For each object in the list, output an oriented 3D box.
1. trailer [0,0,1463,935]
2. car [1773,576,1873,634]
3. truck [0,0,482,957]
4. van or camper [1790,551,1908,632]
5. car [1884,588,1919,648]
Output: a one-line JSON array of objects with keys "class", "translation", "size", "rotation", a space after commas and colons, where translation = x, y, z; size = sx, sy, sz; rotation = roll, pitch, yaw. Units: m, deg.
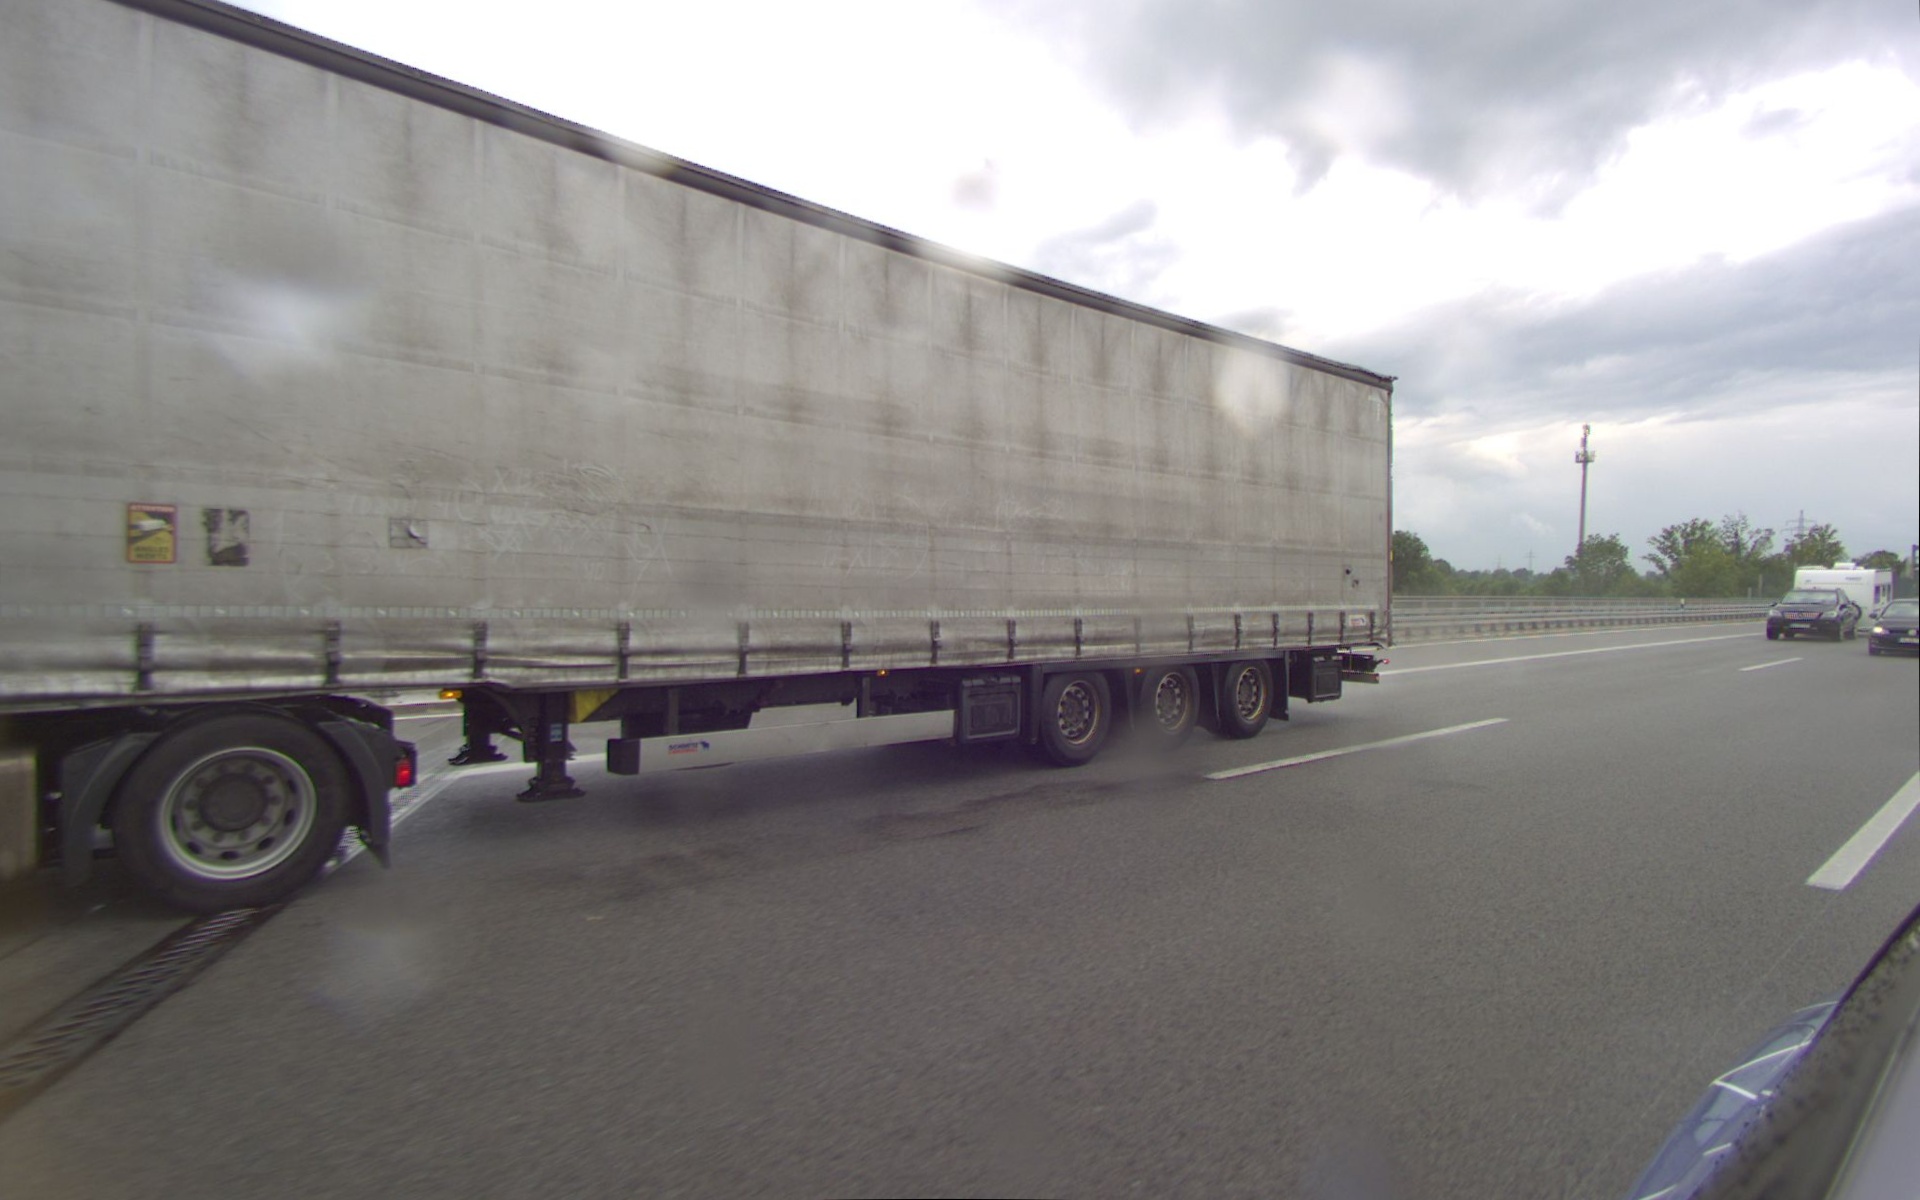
[{"class": "trailer", "translation": [0.369, -0.707, 9.618], "size": [13.873, 4.071, 2.966], "rotation": [1, 0, -42]}, {"class": "car", "translation": [29.011, 0.151, 33.975], "size": [4.423, 1.798, 1.924], "rotation": [0, 0, -41]}, {"class": "truck", "translation": [-5.838, -0.664, 4.097], "size": [6.474, 4.071, 2.966], "rotation": [1, 0, -42]}, {"class": "van or camper", "translation": [33.306, -0.305, 37.820], "size": [7.082, 2.773, 2.388], "rotation": [0, 0, -41]}, {"class": "car", "translation": [24.828, 0.446, 25.689], "size": [3.932, 1.464, 1.715], "rotation": [0, 1, -43]}]
